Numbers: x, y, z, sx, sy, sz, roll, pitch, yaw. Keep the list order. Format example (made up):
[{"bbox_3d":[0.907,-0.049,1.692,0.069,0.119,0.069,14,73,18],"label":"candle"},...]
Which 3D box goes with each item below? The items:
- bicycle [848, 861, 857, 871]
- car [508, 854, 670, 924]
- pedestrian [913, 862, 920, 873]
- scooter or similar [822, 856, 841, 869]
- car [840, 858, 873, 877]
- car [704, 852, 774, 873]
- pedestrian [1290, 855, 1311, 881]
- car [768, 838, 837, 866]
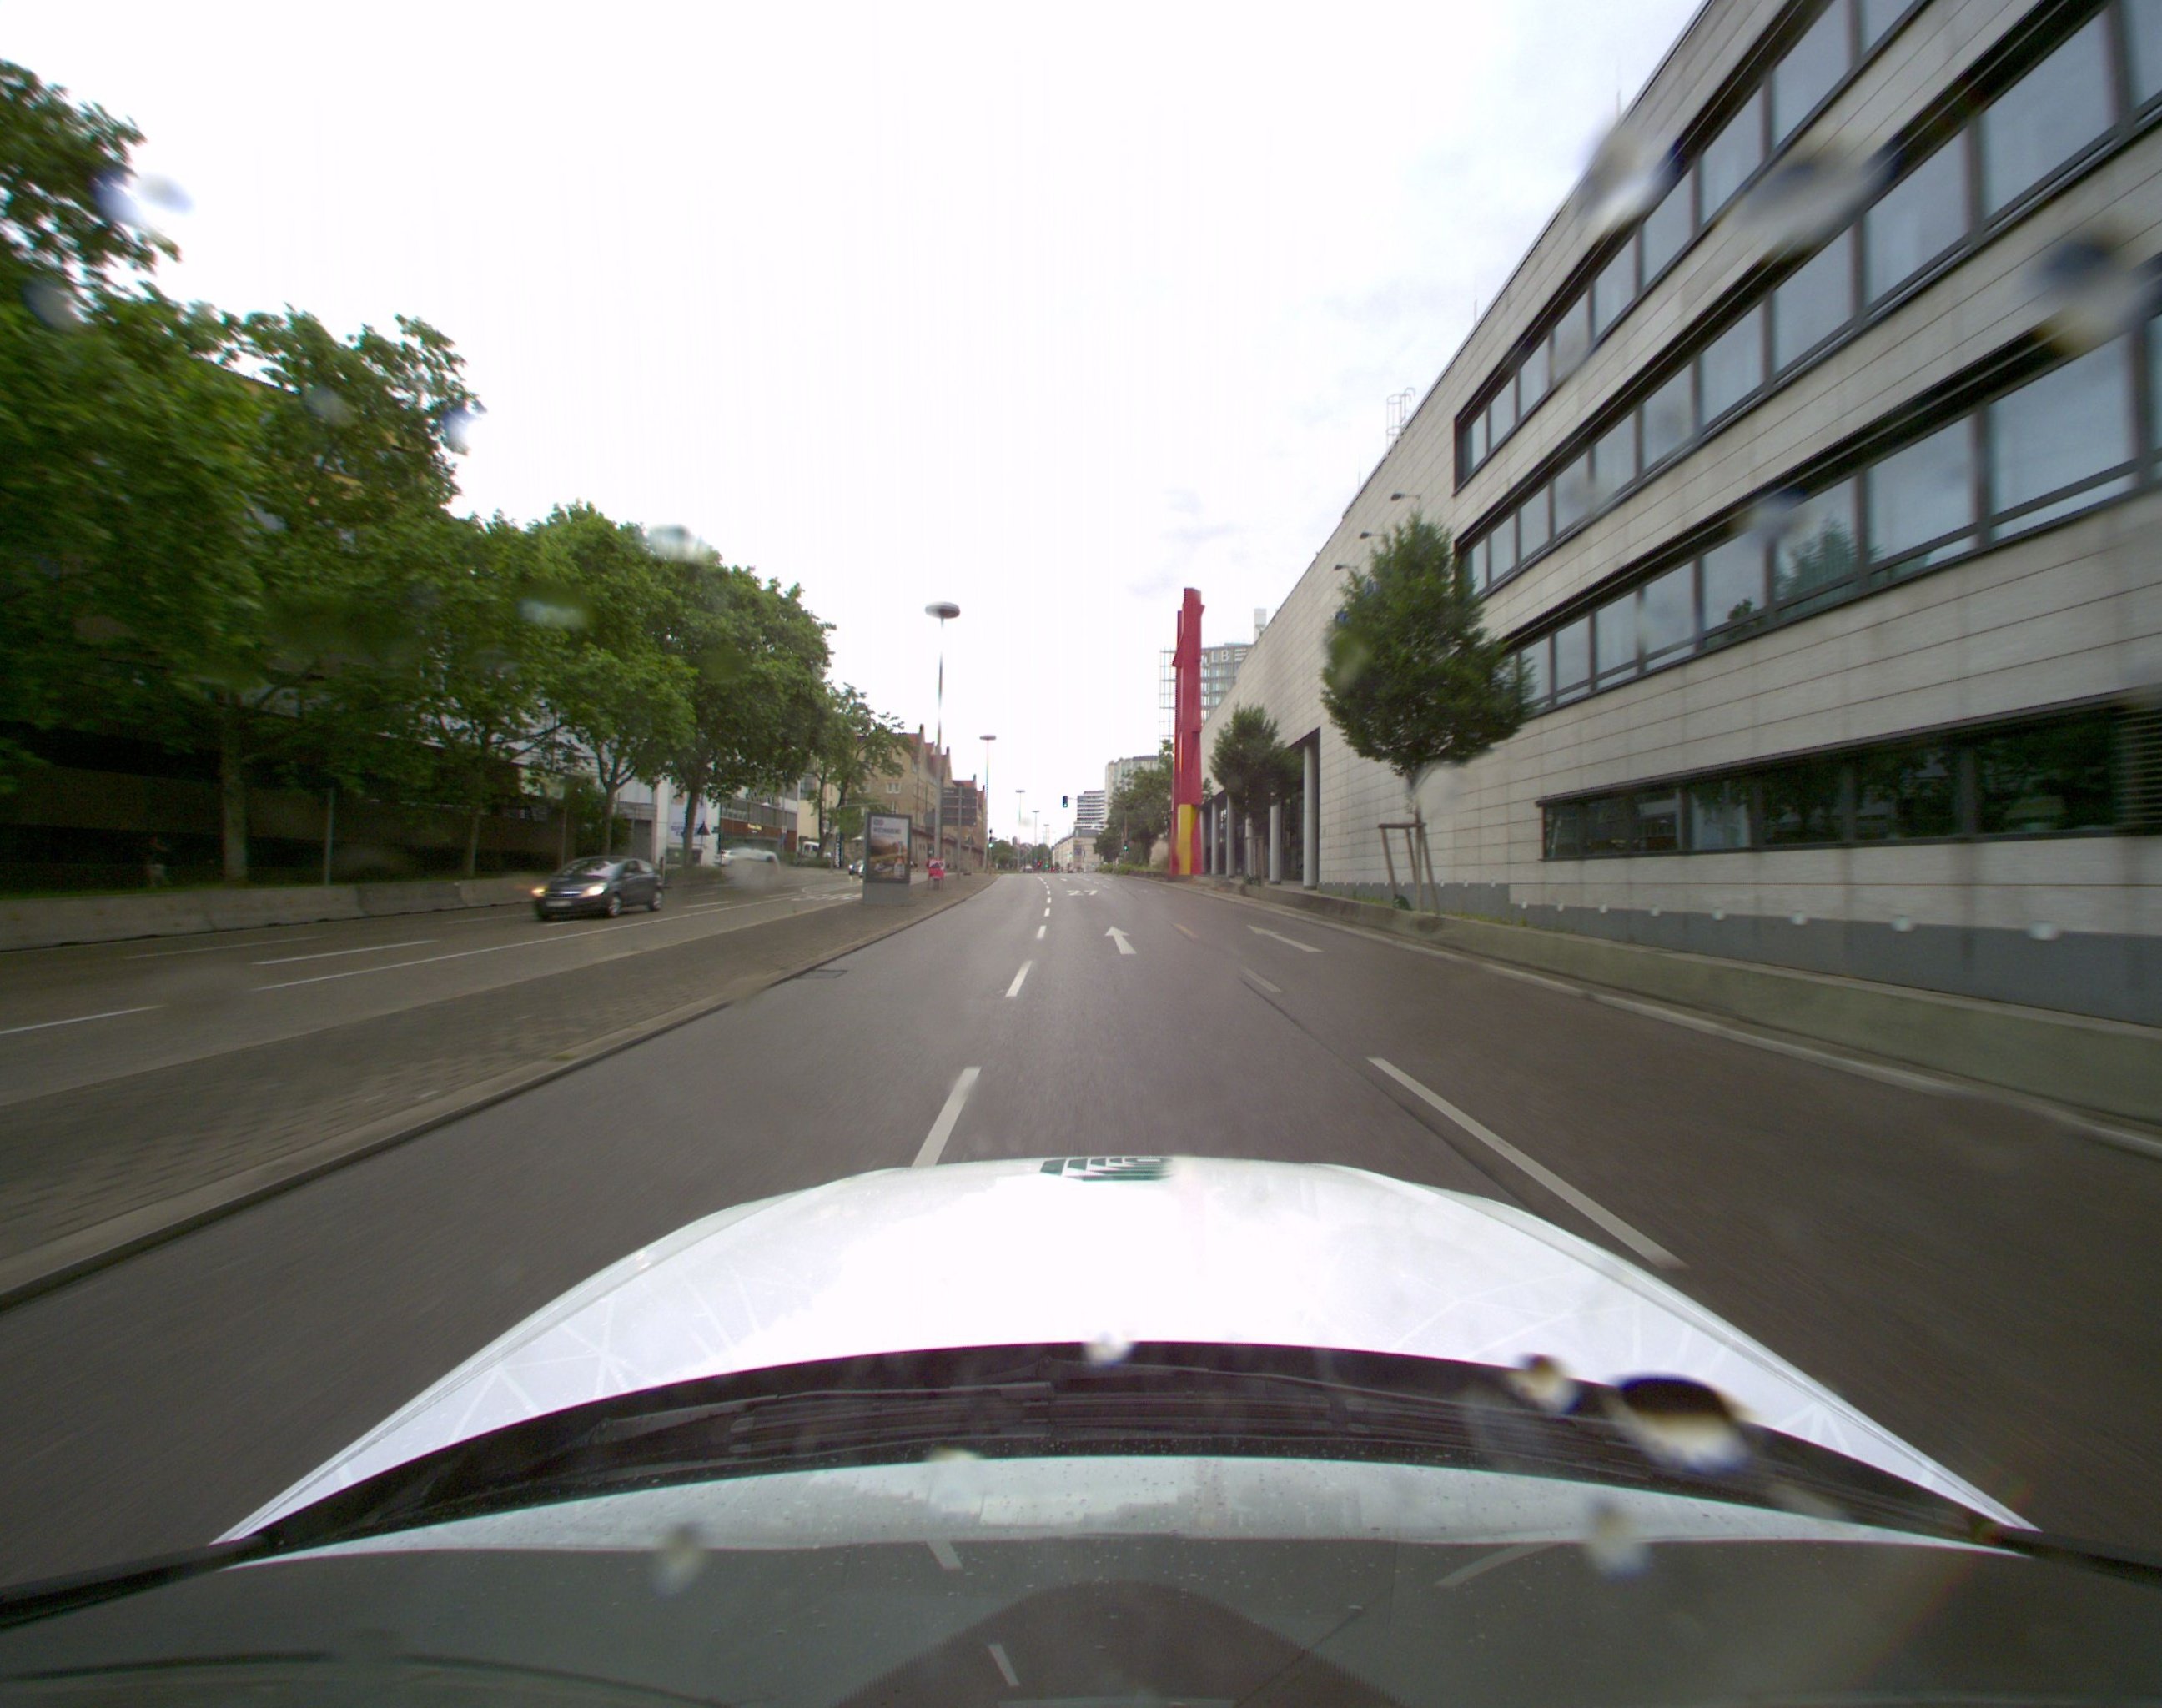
[{"bbox_3d":[-24.316,1.294,86.797,0.455,0.991,1.758,1,-1,0],"label":"bicycle"},{"bbox_3d":[-12.059,0.781,20.329,1.932,1.500,4.162,-1,1,-8],"label":"car"},{"bbox_3d":[-21.922,1.766,108.524,0.752,1.478,0.714,0,-1,-1],"label":"pedestrian"},{"bbox_3d":[-25.163,0.854,82.166,1.760,1.247,0.367,4,-3,-30],"label":"scooter or similar"},{"bbox_3d":[-18.239,1.086,66.248,1.750,1.519,4.165,0,0,-3],"label":"car"},{"bbox_3d":[-28.065,0.658,66.946,1.974,1.653,4.874,1,0,38],"label":"car"},{"bbox_3d":[13.277,0.843,49.326,0.968,1.586,0.841,0,-1,-4],"label":"pedestrian"},{"bbox_3d":[-32.267,-0.264,94.518,6.880,2.275,2.515,7,2,0],"label":"car"}]
